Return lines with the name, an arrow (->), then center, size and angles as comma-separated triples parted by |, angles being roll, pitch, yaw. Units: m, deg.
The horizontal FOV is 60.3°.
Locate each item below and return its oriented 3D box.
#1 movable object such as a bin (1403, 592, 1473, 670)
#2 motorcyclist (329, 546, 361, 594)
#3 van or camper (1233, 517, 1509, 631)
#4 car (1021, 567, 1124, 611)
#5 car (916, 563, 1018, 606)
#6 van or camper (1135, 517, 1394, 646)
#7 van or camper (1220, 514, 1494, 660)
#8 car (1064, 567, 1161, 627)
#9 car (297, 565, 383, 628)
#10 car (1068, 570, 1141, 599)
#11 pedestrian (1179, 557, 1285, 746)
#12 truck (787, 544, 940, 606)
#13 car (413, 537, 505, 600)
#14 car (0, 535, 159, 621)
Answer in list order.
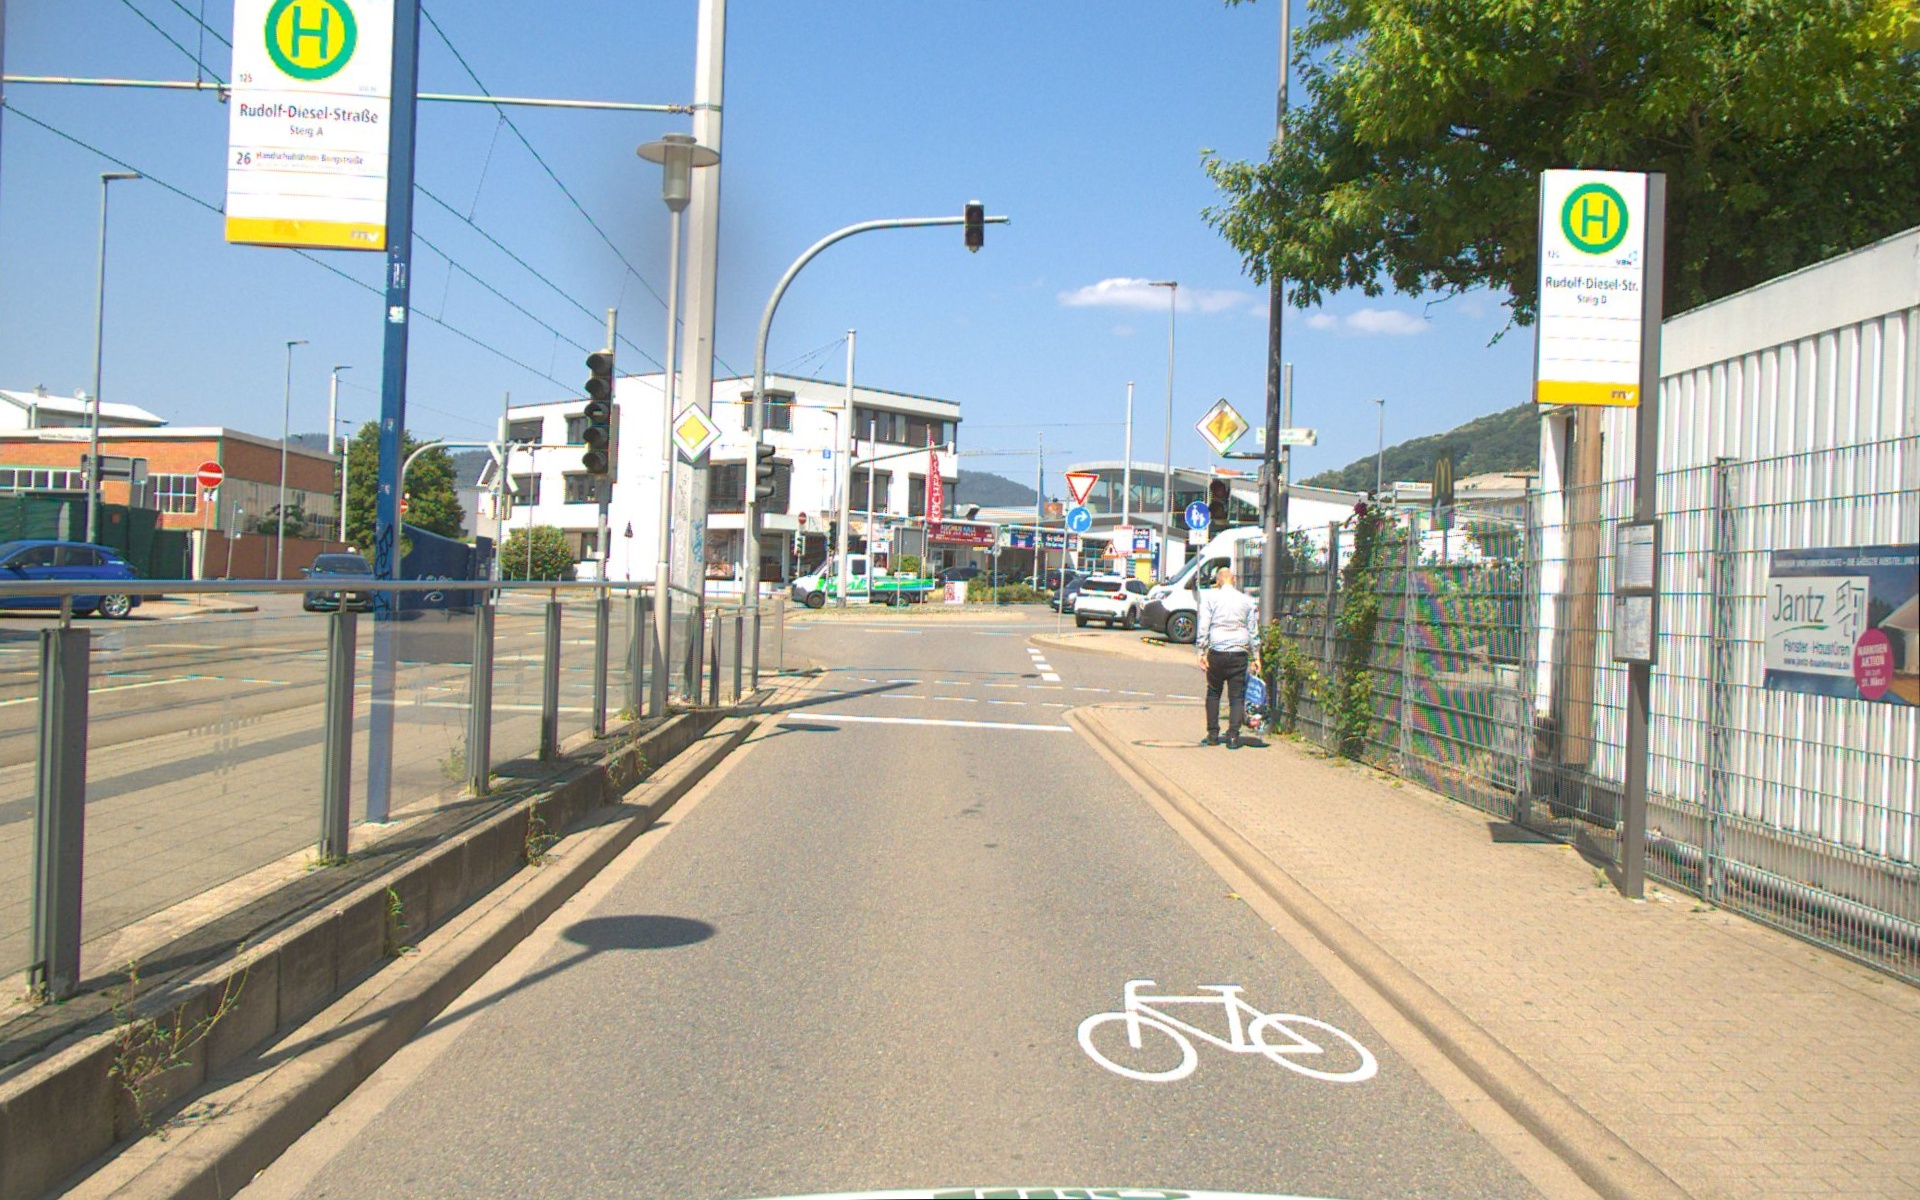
movable object such as a bin -> 9.756, 0.613, 33.810 | 1.226, 1.482, 1.080 | 2, 3, 11
motorcyclist -> -19.590, -0.944, 52.698 | 0.825, 1.501, 0.955 | 2, -1, -26
van or camper -> 11.047, -0.699, 44.837 | 6.918, 2.998, 2.334 | 0, 0, -1
car -> 5.100, -0.502, 74.747 | 4.356, 1.850, 1.966 | 2, 1, -35
car -> 0.384, -0.774, 82.407 | 5.240, 2.000, 1.934 | 1, 1, -44
van or camper -> 7.081, -0.460, 38.934 | 5.690, 2.822, 2.091 | 1, 1, 2
van or camper -> 8.530, -0.329, 35.956 | 5.391, 2.862, 2.049 | 2, 2, 3
car -> 4.901, -0.110, 52.717 | 1.952, 1.763, 4.565 | 2, 1, 20
car -> -15.884, -0.125, 42.527 | 1.878, 1.467, 4.571 | 2, 1, -19
car -> 8.680, -0.908, 99.039 | 1.853, 1.616, 4.898 | 0, -1, 42
pedestrian -> 2.555, 0.466, 15.633 | 0.796, 1.729, 0.887 | 1, 1, -3
truck -> -4.136, -1.061, 70.560 | 6.256, 2.378, 2.203 | 2, 1, -12
car -> -18.325, -1.119, 60.710 | 2.120, 2.049, 5.013 | 2, -1, -4
car -> -17.757, -0.427, 31.488 | 1.772, 1.563, 4.143 | 2, 1, 38
